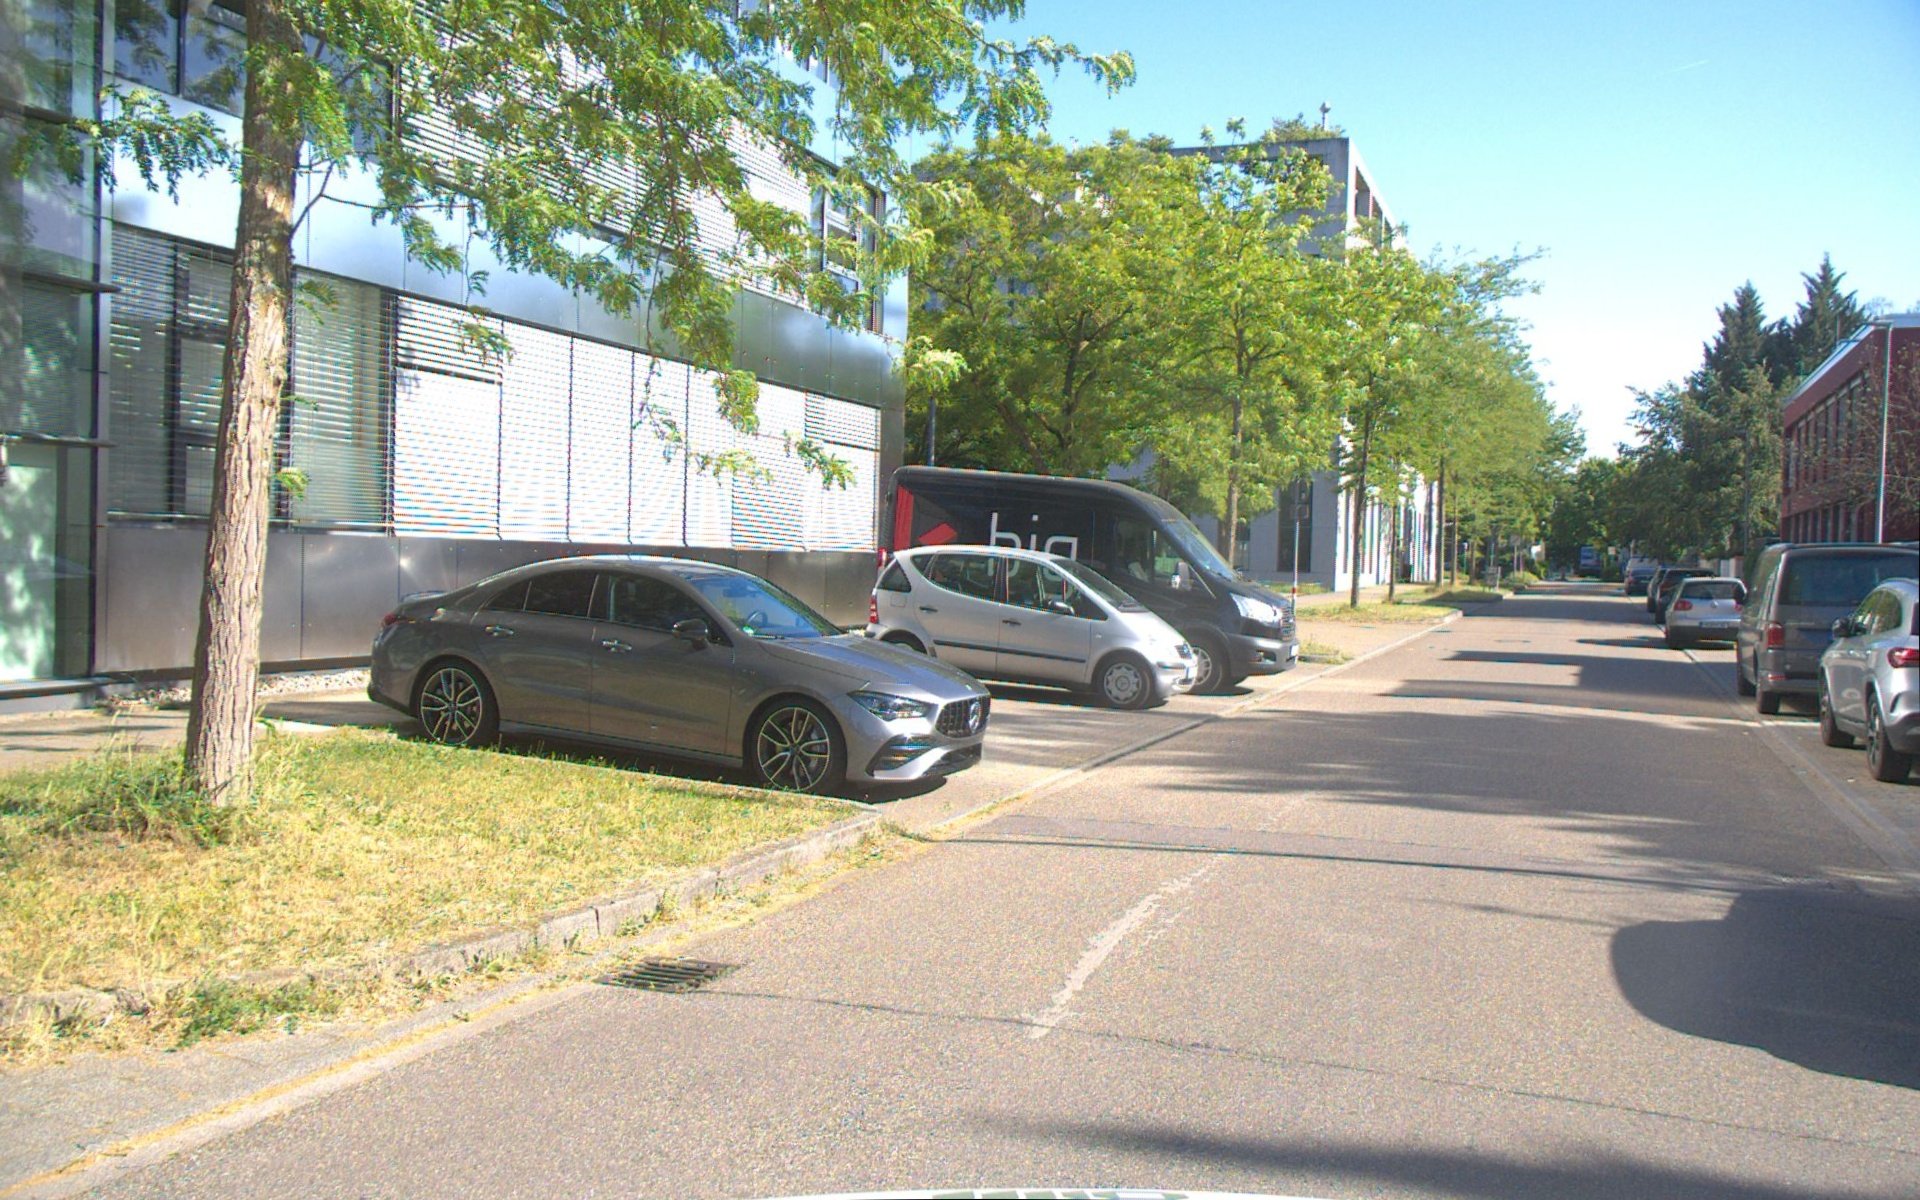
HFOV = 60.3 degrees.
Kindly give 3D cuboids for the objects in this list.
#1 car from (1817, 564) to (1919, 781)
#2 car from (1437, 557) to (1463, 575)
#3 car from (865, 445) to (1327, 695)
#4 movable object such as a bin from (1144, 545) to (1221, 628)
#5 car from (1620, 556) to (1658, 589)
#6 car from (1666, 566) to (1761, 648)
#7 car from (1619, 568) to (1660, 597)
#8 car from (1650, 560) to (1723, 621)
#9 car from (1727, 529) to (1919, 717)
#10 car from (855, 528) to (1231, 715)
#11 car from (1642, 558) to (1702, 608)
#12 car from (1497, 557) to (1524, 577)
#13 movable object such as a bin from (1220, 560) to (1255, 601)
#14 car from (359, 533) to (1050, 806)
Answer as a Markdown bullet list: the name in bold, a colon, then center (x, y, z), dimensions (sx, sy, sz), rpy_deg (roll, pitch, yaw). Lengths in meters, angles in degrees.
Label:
- **car**: center (8.763, 0.536, 14.413), dimensions (1.788, 1.657, 4.294), rpy_deg (0, 1, 21)
- **car**: center (39.845, -2.749, 134.439), dimensions (1.866, 1.365, 3.795), rpy_deg (2, 2, 18)
- **car**: center (1.753, -0.449, 21.189), dimensions (5.344, 2.667, 2.232), rpy_deg (5, 2, 21)
- **movable object such as a bin**: center (4.059, -0.267, 30.260), dimensions (1.266, 1.438, 1.228), rpy_deg (2, 2, 4)
- **car**: center (39.266, -1.609, 95.658), dimensions (1.953, 1.866, 4.000), rpy_deg (-1, 1, 22)
- **car**: center (16.167, 0.096, 35.620), dimensions (1.626, 1.588, 3.935), rpy_deg (2, 2, 22)
- **car**: center (37.039, -0.943, 90.226), dimensions (1.953, 1.467, 4.000), rpy_deg (2, 1, 22)
- **car**: center (21.652, -0.316, 49.390), dimensions (1.801, 1.662, 4.201), rpy_deg (2, 2, 22)
- **car**: center (10.800, 0.215, 20.574), dimensions (1.903, 2.057, 4.826), rpy_deg (1, 1, 21)
- **car**: center (0.966, 0.183, 18.674), dimensions (3.753, 1.673, 1.893), rpy_deg (5, 2, 20)
- **car**: center (25.438, -0.635, 59.180), dimensions (1.817, 1.677, 4.000), rpy_deg (1, 2, 22)
- **car**: center (44.172, -2.639, 132.810), dimensions (1.952, 1.483, 3.795), rpy_deg (2, 1, 18)
- **movable object such as a bin**: center (8.330, -0.598, 49.609), dimensions (0.649, 1.202, 1.936), rpy_deg (2, 2, 21)
- **car**: center (-1.799, 0.382, 11.747), dimensions (4.443, 1.373, 1.892), rpy_deg (5, 2, 21)
